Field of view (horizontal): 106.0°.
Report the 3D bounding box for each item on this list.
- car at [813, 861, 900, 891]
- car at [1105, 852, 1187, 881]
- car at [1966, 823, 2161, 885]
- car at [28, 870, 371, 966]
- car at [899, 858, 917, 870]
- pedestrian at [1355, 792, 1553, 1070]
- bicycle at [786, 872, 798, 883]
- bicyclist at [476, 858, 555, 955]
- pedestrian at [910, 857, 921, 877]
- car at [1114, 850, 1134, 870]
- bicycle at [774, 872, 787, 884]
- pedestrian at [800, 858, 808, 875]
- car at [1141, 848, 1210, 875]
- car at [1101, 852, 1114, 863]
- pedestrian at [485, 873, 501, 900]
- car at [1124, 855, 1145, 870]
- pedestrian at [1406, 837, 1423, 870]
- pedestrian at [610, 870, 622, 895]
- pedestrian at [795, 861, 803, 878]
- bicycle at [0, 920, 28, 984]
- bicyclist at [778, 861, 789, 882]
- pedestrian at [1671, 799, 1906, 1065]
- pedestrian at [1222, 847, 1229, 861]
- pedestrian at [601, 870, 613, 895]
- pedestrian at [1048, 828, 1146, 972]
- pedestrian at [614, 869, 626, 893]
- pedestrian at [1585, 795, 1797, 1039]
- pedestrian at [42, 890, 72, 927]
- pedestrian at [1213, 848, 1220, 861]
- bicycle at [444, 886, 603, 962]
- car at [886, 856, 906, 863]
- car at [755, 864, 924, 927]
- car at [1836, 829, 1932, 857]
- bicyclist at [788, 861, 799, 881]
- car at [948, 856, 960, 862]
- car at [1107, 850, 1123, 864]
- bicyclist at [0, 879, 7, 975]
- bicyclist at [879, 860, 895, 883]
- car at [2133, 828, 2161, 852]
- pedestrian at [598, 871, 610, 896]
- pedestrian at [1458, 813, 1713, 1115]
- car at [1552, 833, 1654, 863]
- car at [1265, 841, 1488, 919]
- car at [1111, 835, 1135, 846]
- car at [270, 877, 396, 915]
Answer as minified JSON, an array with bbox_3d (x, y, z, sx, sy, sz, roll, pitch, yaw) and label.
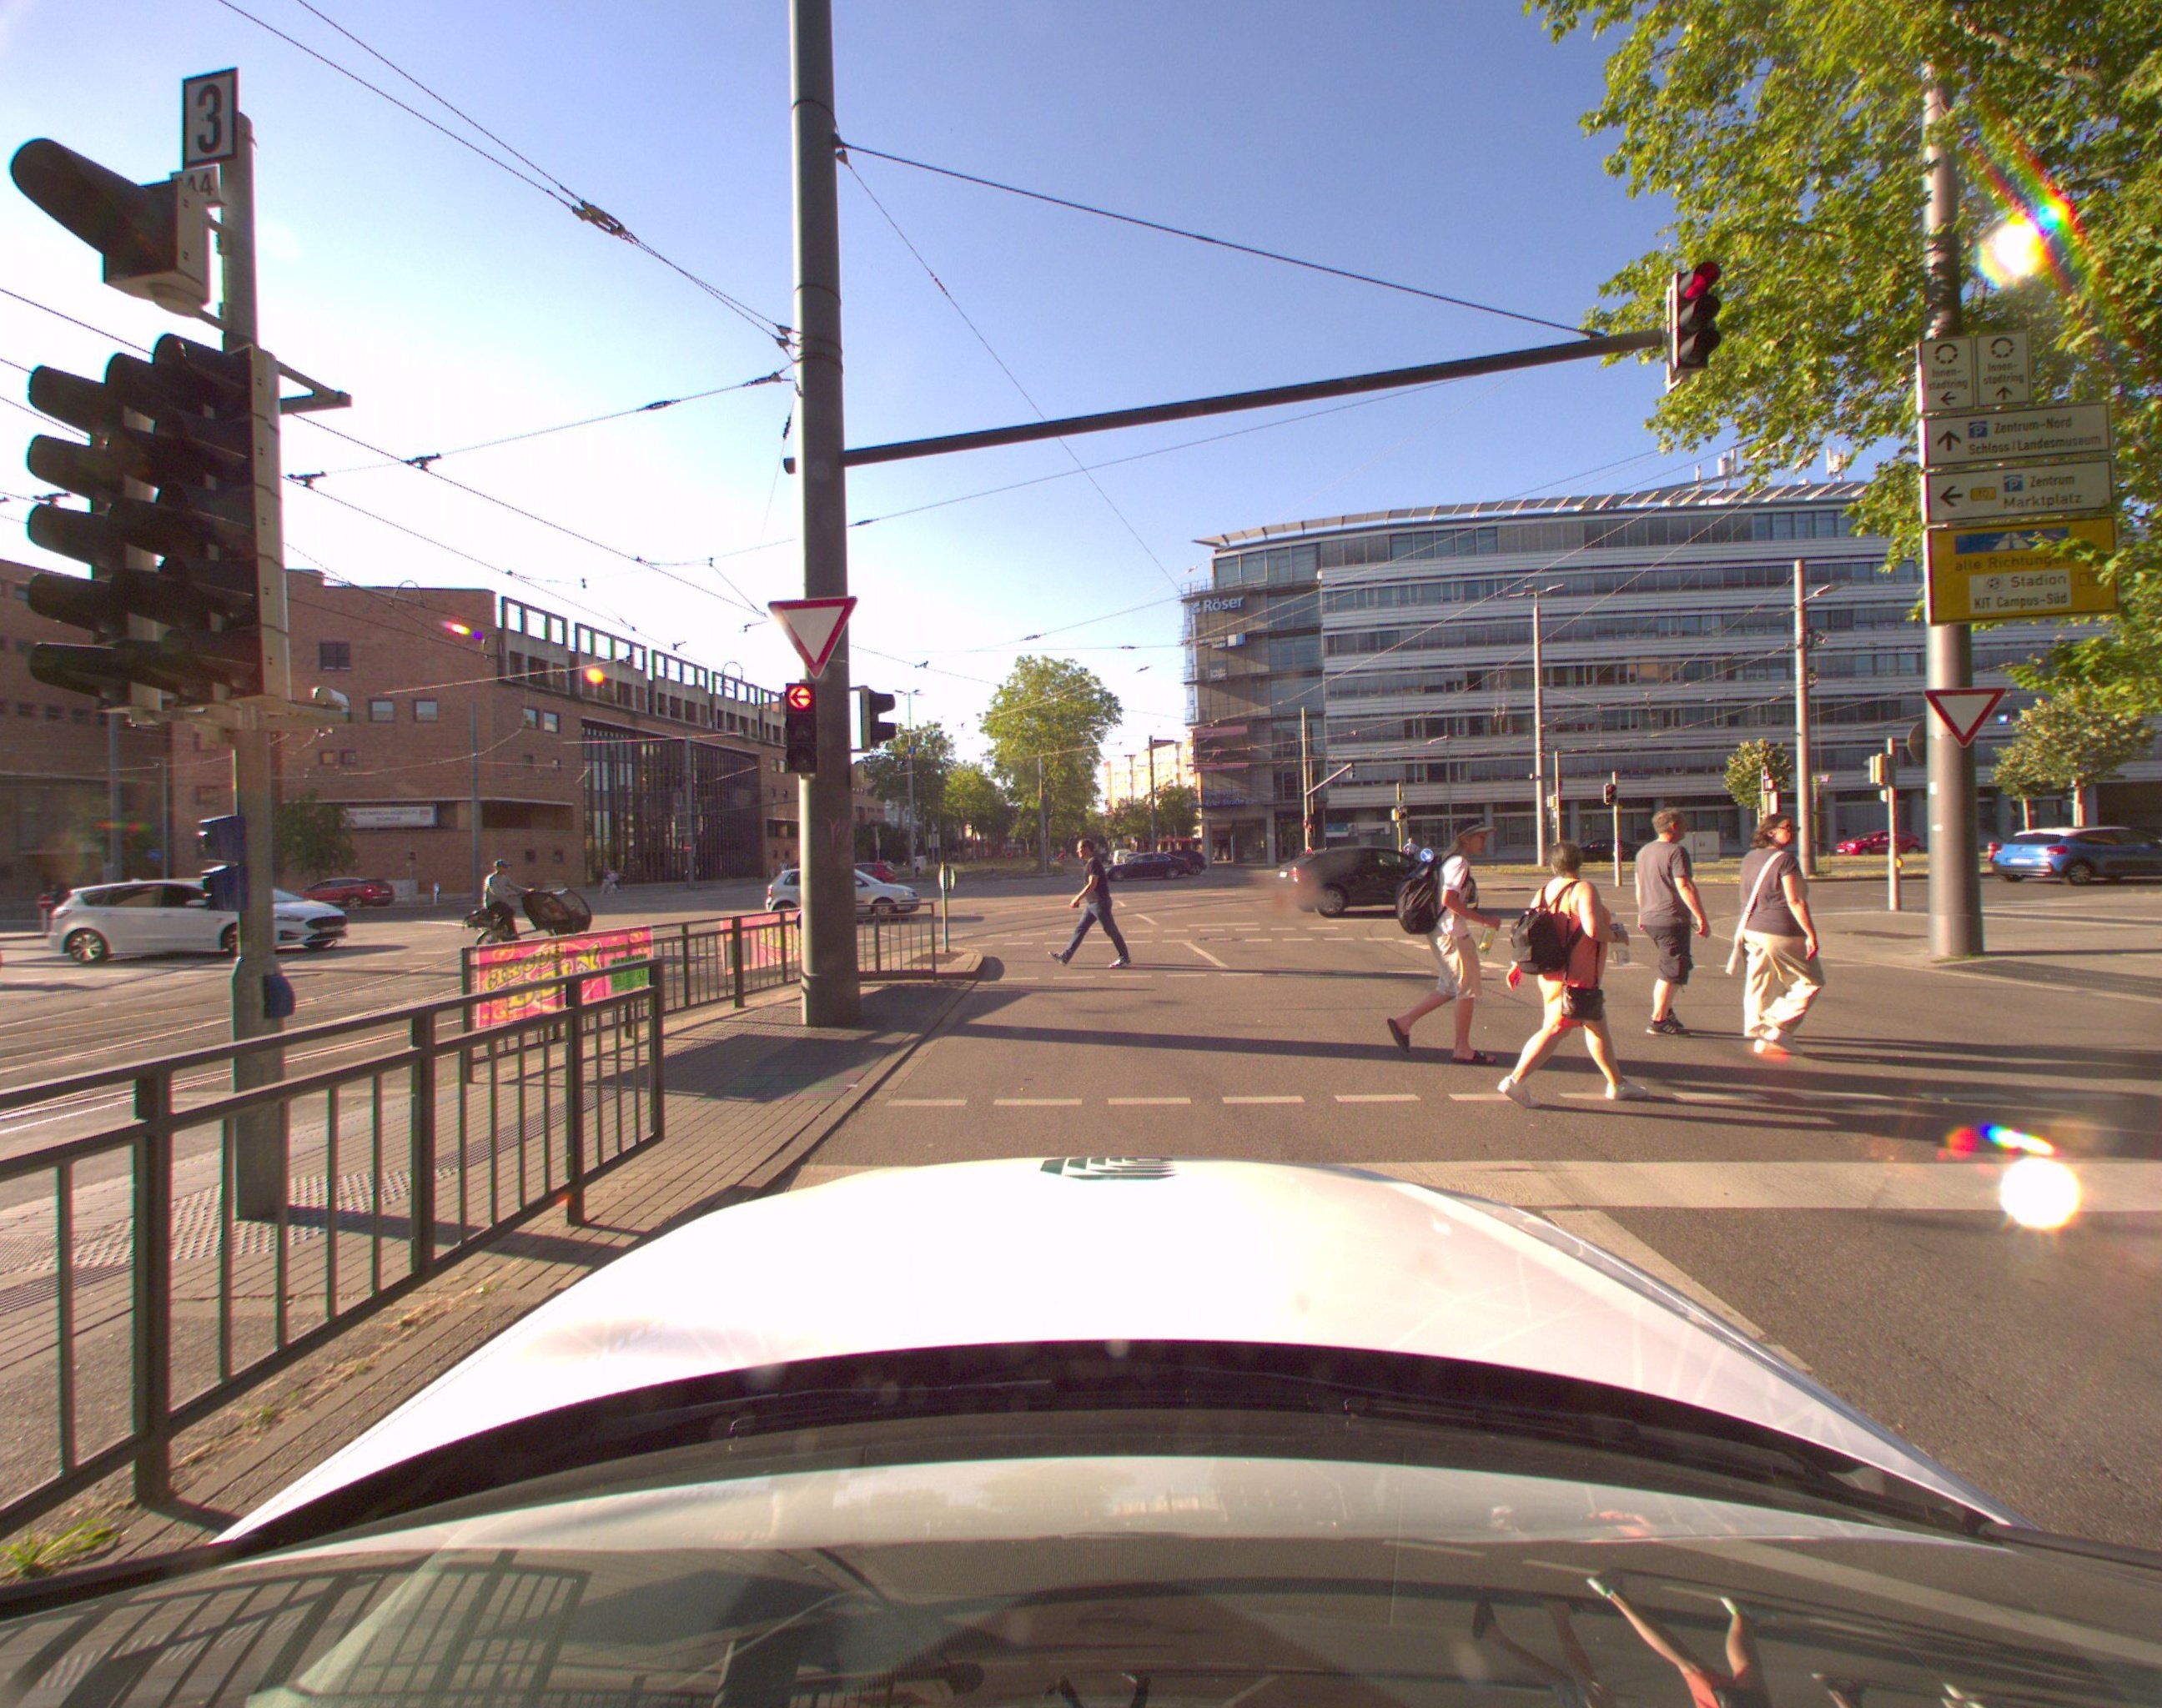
[{"bbox_3d":[-12.017,1.160,43.818,4.238,1.392,1.790,-2,0,-8],"label":"car"},{"bbox_3d":[3.596,0.666,45.534,4.238,1.434,1.790,-2,0,-8],"label":"car"},{"bbox_3d":[26.351,-0.016,21.349,3.935,1.456,2.003,-2,0,4],"label":"car"},{"bbox_3d":[-18.697,1.298,17.507,4.827,1.727,1.996,-2,0,-6],"label":"car"},{"bbox_3d":[-25.050,1.445,118.073,1.990,1.508,3.994,-2,0,-4],"label":"car"},{"bbox_3d":[2.663,0.517,5.905,1.072,1.871,0.737,0,-1,-6],"label":"pedestrian"},{"bbox_3d":[-23.597,1.901,66.558,0.512,0.881,1.835,-2,0,-6],"label":"bicycle"},{"bbox_3d":[-10.262,0.939,14.800,0.900,1.681,0.692,-2,0,5],"label":"bicyclist"},{"bbox_3d":[-12.847,1.029,63.081,0.753,1.530,0.507,-1,0,-6],"label":"pedestrian"},{"bbox_3d":[4.740,0.648,89.775,1.986,1.991,4.002,-2,0,2],"label":"car"},{"bbox_3d":[-24.418,1.951,66.272,0.512,0.881,1.835,-2,0,-6],"label":"bicycle"},{"bbox_3d":[-29.543,1.332,86.880,0.637,1.810,0.547,-2,0,9],"label":"pedestrian"},{"bbox_3d":[5.803,0.466,50.094,3.858,1.507,1.790,-2,0,-8],"label":"car"},{"bbox_3d":[4.135,0.551,126.849,1.986,1.662,4.002,-2,0,2],"label":"car"},{"bbox_3d":[-35.347,1.949,48.920,0.538,1.613,0.575,-2,0,33],"label":"pedestrian"},{"bbox_3d":[5.430,0.845,82.914,1.986,1.332,4.002,-2,0,2],"label":"car"},{"bbox_3d":[17.330,-0.028,42.333,0.715,1.681,0.558,-1,0,9],"label":"pedestrian"},{"bbox_3d":[-32.207,1.966,56.417,0.538,1.650,0.622,-3,0,-17],"label":"pedestrian"},{"bbox_3d":[-29.694,1.650,85.698,0.519,1.779,0.547,-2,0,9],"label":"pedestrian"},{"bbox_3d":[-19.279,1.694,13.889,1.914,1.064,0.630,-1,0,4],"label":"bicycle"},{"bbox_3d":[-24.275,1.388,66.380,0.592,1.675,0.788,-2,0,-4],"label":"bicyclist"},{"bbox_3d":[5.128,0.529,5.960,1.070,1.806,0.756,0,-1,-6],"label":"pedestrian"},{"bbox_3d":[15.811,-0.014,89.157,0.701,1.465,0.385,-2,0,11],"label":"pedestrian"},{"bbox_3d":[-32.278,1.932,55.507,0.538,1.650,0.622,-1,-1,-17],"label":"pedestrian"},{"bbox_3d":[0.183,0.599,11.072,1.206,1.822,1.040,-2,-1,-4],"label":"pedestrian"},{"bbox_3d":[-31.510,1.844,55.695,0.538,1.650,0.622,-2,0,-17],"label":"pedestrian"},{"bbox_3d":[5.032,0.486,6.783,1.143,1.894,0.831,0,-1,-6],"label":"pedestrian"},{"bbox_3d":[-45.764,2.428,36.389,0.542,1.613,0.613,0,1,-3],"label":"pedestrian"},{"bbox_3d":[14.907,0.045,89.478,0.734,1.465,0.538,-2,0,11],"label":"pedestrian"},{"bbox_3d":[-10.054,1.251,14.751,2.147,1.226,1.074,-1,1,5],"label":"bicycle"},{"bbox_3d":[-39.177,1.200,172.518,4.011,1.552,1.592,0,-1,-29],"label":"car"},{"bbox_3d":[-6.255,1.062,21.449,3.900,1.434,1.823,-2,0,-4],"label":"car"},{"bbox_3d":[46.155,-0.633,46.864,3.576,1.466,1.799,-2,0,7],"label":"car"},{"bbox_3d":[-23.507,1.387,66.617,0.592,1.675,0.788,-2,0,-4],"label":"bicyclist"},{"bbox_3d":[-34.167,1.271,218.612,1.982,1.508,4.011,-2,0,9],"label":"car"},{"bbox_3d":[4.385,0.411,105.111,1.986,1.662,4.002,-2,0,2],"label":"car"},{"bbox_3d":[-19.178,1.277,13.883,0.900,1.664,0.640,-2,0,4],"label":"bicyclist"},{"bbox_3d":[-11.967,1.065,50.227,0.823,1.366,0.397,-2,0,-24],"label":"bicyclist"},{"bbox_3d":[62.298,-0.853,45.552,3.964,1.348,1.981,-2,0,8],"label":"car"},{"bbox_3d":[-31.975,1.950,54.547,0.538,1.650,0.622,-1,-1,-17],"label":"pedestrian"},{"bbox_3d":[3.023,0.612,4.964,1.071,1.682,0.756,0,-1,-6],"label":"pedestrian"},{"bbox_3d":[27.876,-0.301,43.631,4.219,1.392,1.799,-2,0,6],"label":"car"},{"bbox_3d":[6.698,0.570,18.788,4.469,1.583,1.824,-2,0,-2],"label":"car"},{"bbox_3d":[7.274,-2.354,141.318,3.732,1.750,1.789,0,-1,16],"label":"car"},{"bbox_3d":[-37.138,2.058,40.540,4.240,1.602,1.790,-2,0,-9],"label":"car"}]
